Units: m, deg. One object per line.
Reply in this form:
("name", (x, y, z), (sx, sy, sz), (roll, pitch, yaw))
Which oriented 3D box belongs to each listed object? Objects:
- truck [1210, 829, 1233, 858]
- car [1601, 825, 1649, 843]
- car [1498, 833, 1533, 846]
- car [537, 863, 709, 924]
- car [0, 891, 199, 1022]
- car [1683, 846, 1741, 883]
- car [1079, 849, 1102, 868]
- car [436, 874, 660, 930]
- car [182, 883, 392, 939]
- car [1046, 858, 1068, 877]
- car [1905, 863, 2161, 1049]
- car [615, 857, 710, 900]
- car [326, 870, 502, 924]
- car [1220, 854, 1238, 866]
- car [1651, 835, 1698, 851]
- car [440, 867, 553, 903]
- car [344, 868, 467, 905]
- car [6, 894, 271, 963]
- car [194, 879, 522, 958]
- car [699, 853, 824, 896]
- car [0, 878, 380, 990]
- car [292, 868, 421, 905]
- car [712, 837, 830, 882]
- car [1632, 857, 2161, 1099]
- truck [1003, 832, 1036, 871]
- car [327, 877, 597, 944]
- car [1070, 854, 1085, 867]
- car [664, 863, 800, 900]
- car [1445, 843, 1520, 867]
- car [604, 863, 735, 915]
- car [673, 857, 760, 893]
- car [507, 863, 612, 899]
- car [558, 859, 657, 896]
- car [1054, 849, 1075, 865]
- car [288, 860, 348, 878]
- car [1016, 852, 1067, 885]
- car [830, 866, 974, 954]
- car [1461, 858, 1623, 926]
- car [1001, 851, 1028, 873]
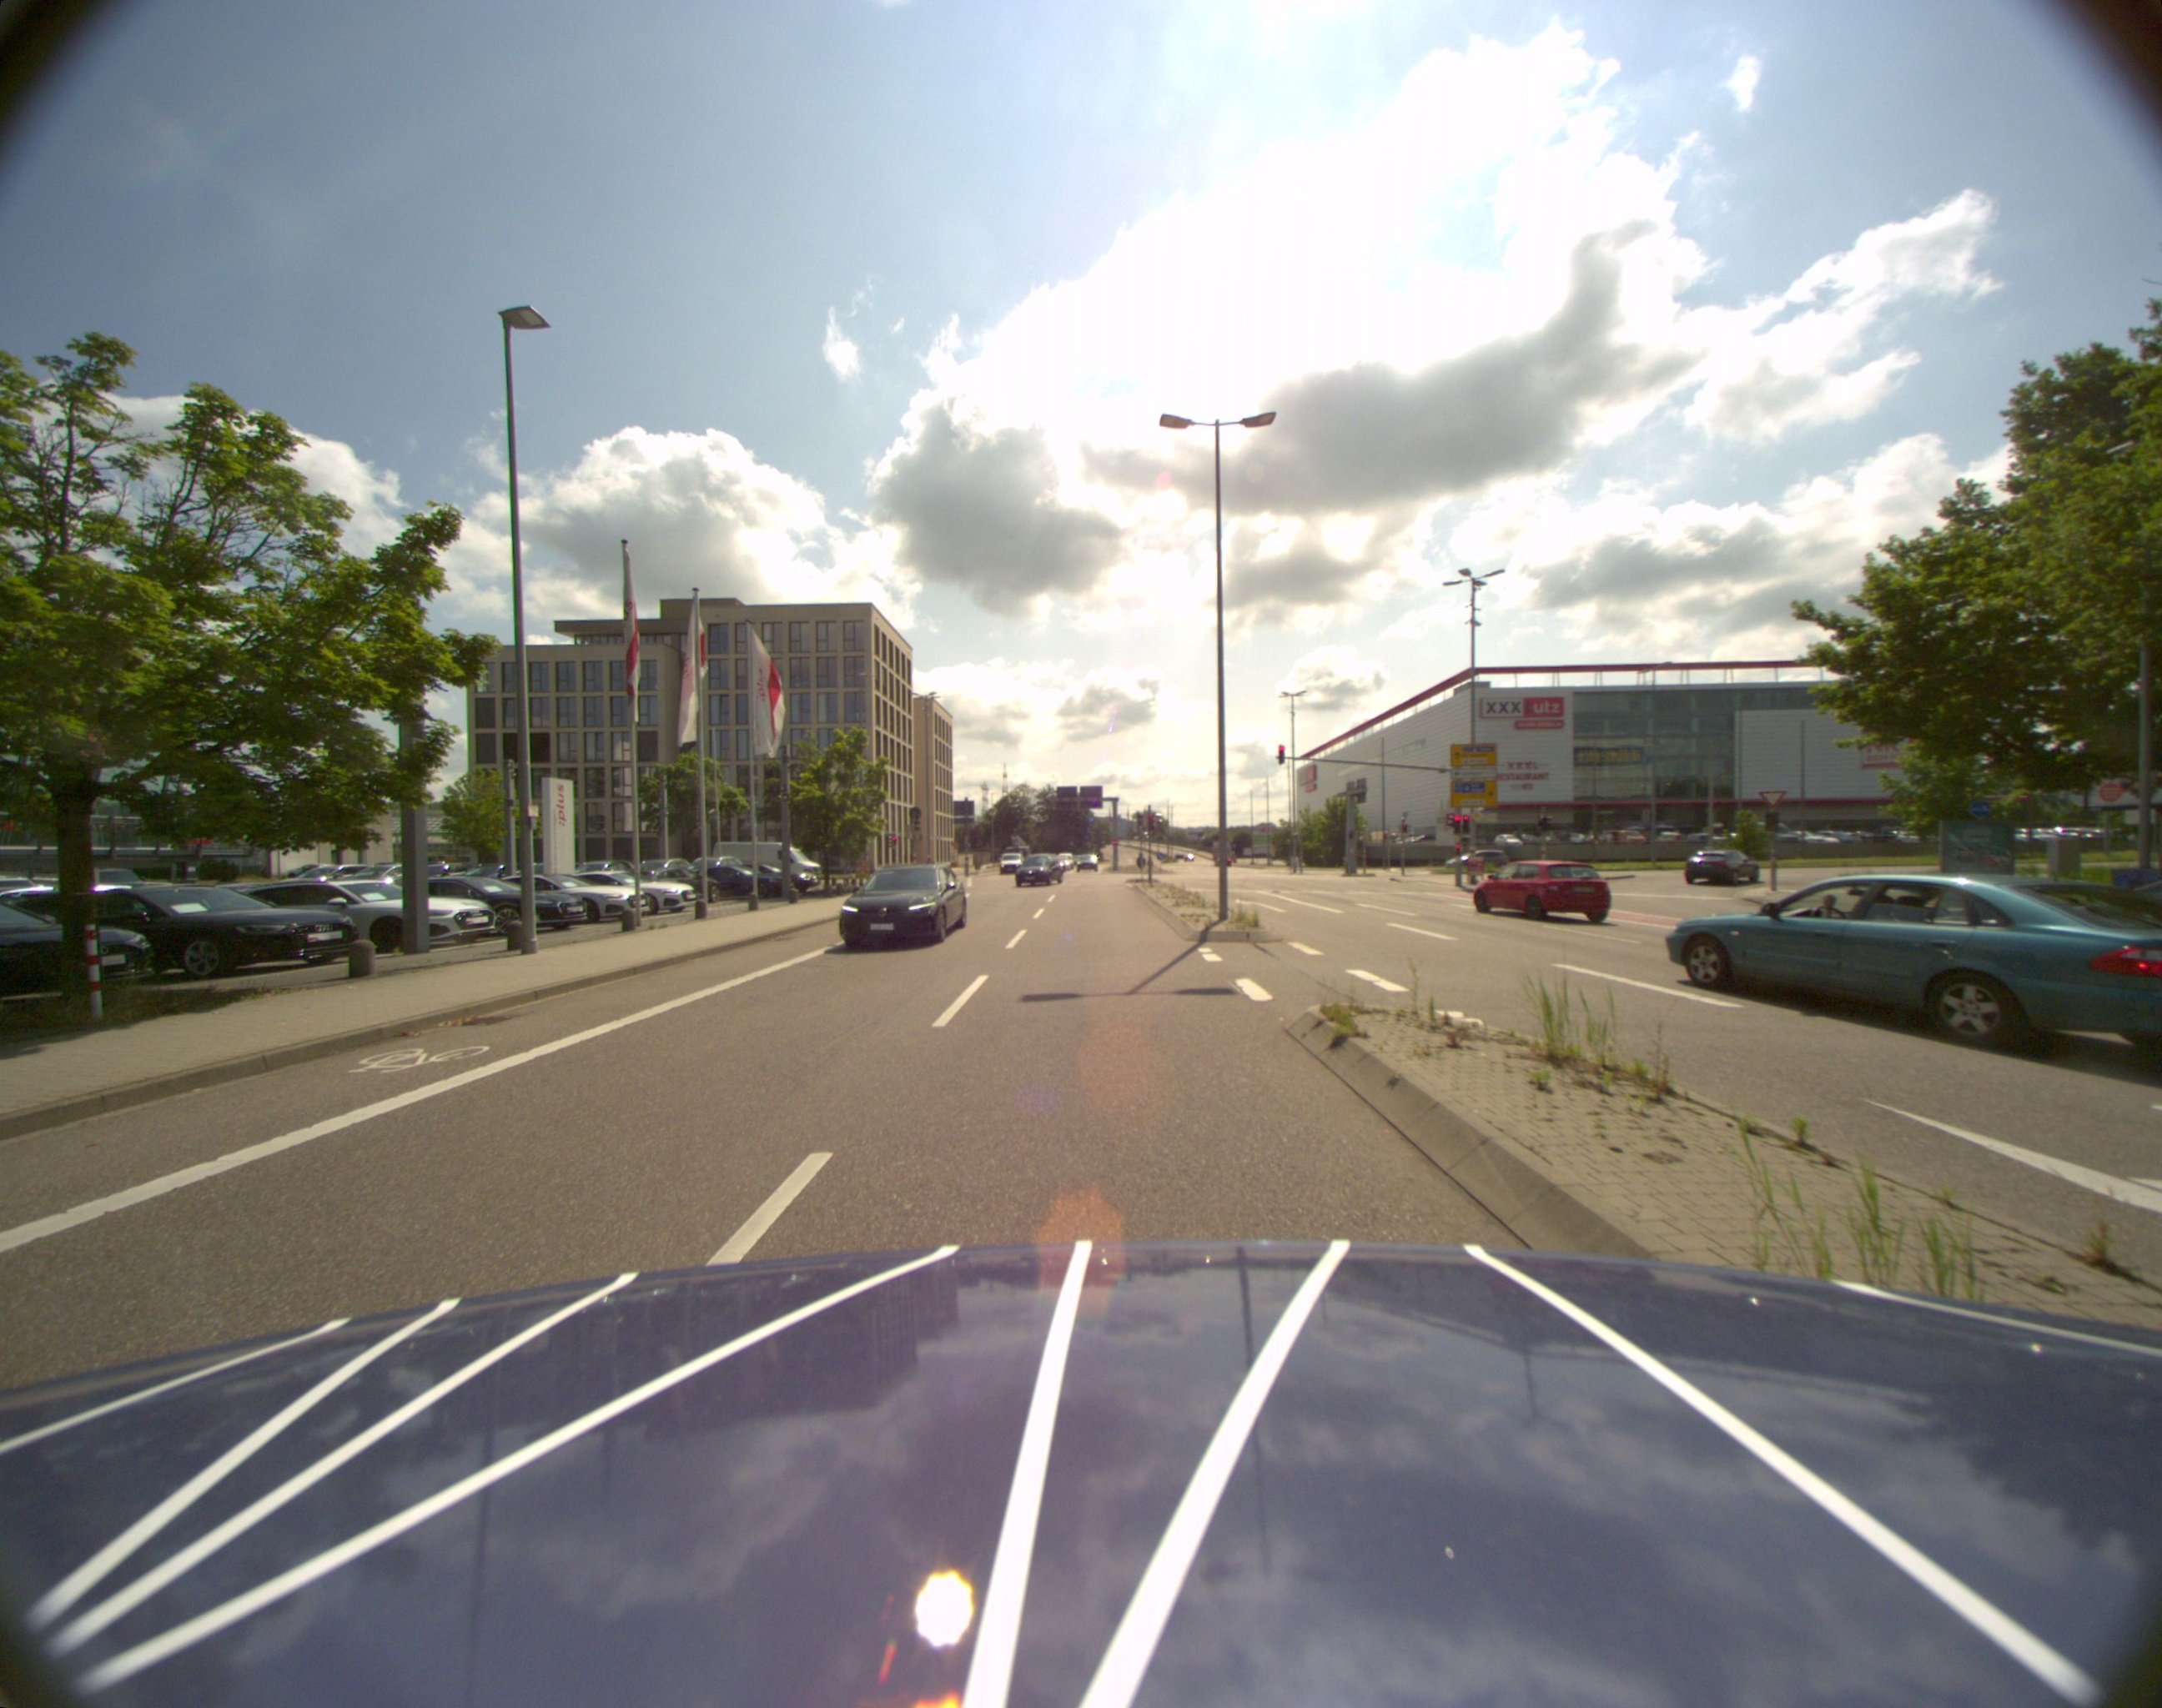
("truck", (21.512, -1.517, 116.742), (3.218, 4.002, 9.079), (-2, -1, 10))
("car", (60.261, -2.190, 84.244), (1.916, 1.739, 4.186), (-2, -1, -9))
("car", (54.764, -1.842, 95.796), (1.953, 1.462, 4.424), (-1, -1, 2))
("car", (-13.672, 1.163, 22.858), (3.997, 1.455, 1.796), (-4, 1, 1))
("car", (-14.001, 1.288, 9.125), (4.586, 1.375, 1.908), (-3, -1, 1))
("car", (28.505, 0.441, 34.354), (1.891, 1.546, 4.596), (0, 1, 40))
("car", (0.836, 0.423, 67.603), (1.827, 1.617, 4.212), (-2, -1, -2))
("car", (-14.038, 1.241, 20.206), (4.586, 1.289, 1.908), (-2, -1, 1))
("car", (-24.014, 1.706, 23.105), (4.357, 1.490, 1.907), (-1, 1, 1))
("car", (-2.116, 1.219, 67.349), (1.827, 1.617, 4.212), (-2, -1, -2))
("car", (11.407, 1.033, 7.175), (1.933, 1.745, 4.820), (2, 1, 0))
("car", (-20.530, 1.151, 37.517), (1.905, 1.669, 4.588), (-2, 3, 3))
("car", (-23.915, 1.479, 27.551), (1.983, 1.502, 4.756), (-4, 0, 2))
("car", (20.197, 0.816, 103.629), (1.776, 1.469, 4.685), (-1, -1, 18))
("car", (66.104, -1.231, 84.697), (1.953, 1.596, 4.425), (-1, -1, 4))
("car", (-28.872, 1.497, 37.775), (1.905, 1.668, 4.591), (-2, -1, 2))
("car", (-33.468, 1.550, 37.850), (1.905, 1.668, 4.591), (-2, -1, 2))
("car", (-23.857, 1.859, 19.363), (4.357, 1.490, 1.907), (-1, 1, 1))
("car", (-13.927, 1.213, 14.845), (4.586, 1.289, 1.908), (-2, -1, 1))
("car", (-13.830, 0.902, 33.102), (4.586, 1.668, 1.908), (-2, -1, 1))
("car", (-14.216, 1.227, 11.944), (4.586, 1.289, 1.908), (-5, -1, 1))
("car", (-36.192, 1.587, 38.160), (1.905, 1.668, 4.591), (-2, -1, 2))
("car", (-19.947, 0.394, 48.978), (6.854, 2.591, 2.141), (-2, -1, 8))
("car", (8.050, 0.857, 7.427), (1.777, 1.539, 4.820), (2, 0, 0))
("truck", (-6.014, -0.101, 75.543), (2.673, 3.533, 9.784), (-2, -1, -1))
("car", (-13.930, 1.240, 17.309), (4.586, 1.289, 1.908), (-2, -1, 1))
("car", (-0.499, 1.004, 111.128), (1.826, 1.826, 4.448), (-2, -1, 4))
("car", (-14.096, 1.107, 30.878), (4.586, 1.289, 1.908), (-2, -1, 1))
("car", (27.382, 0.074, 51.898), (4.265, 1.521, 1.608), (-1, 0, 4))
("car", (-14.326, 1.170, 26.810), (1.794, 1.455, 4.756), (-4, 0, 2))
("car", (-18.024, 1.029, 37.826), (1.905, 1.668, 4.591), (-2, -1, 2))
("car", (-25.825, 1.309, 37.859), (1.905, 1.668, 4.591), (-2, -1, 2))
("car", (-23.398, 1.137, 37.789), (1.905, 1.668, 4.591), (-2, -1, 2))
("car", (-1.717, 0.356, 79.866), (1.826, 1.617, 4.213), (-2, -1, 2))
("car", (-76.816, 1.523, 76.547), (3.997, 1.673, 2.000), (-2, -1, 0))
("car", (-1.858, 0.694, 37.144), (1.605, 1.521, 4.273), (1, 0, 9))
("car", (-3.479, 1.010, 15.803), (1.813, 1.469, 5.204), (-1, -1, -1))
("car", (11.669, 0.882, 19.600), (1.690, 1.474, 4.125), (1, 0, 1))
("car", (-5.910, 0.718, 67.970), (1.999, 1.826, 4.993), (-2, -1, -2))
